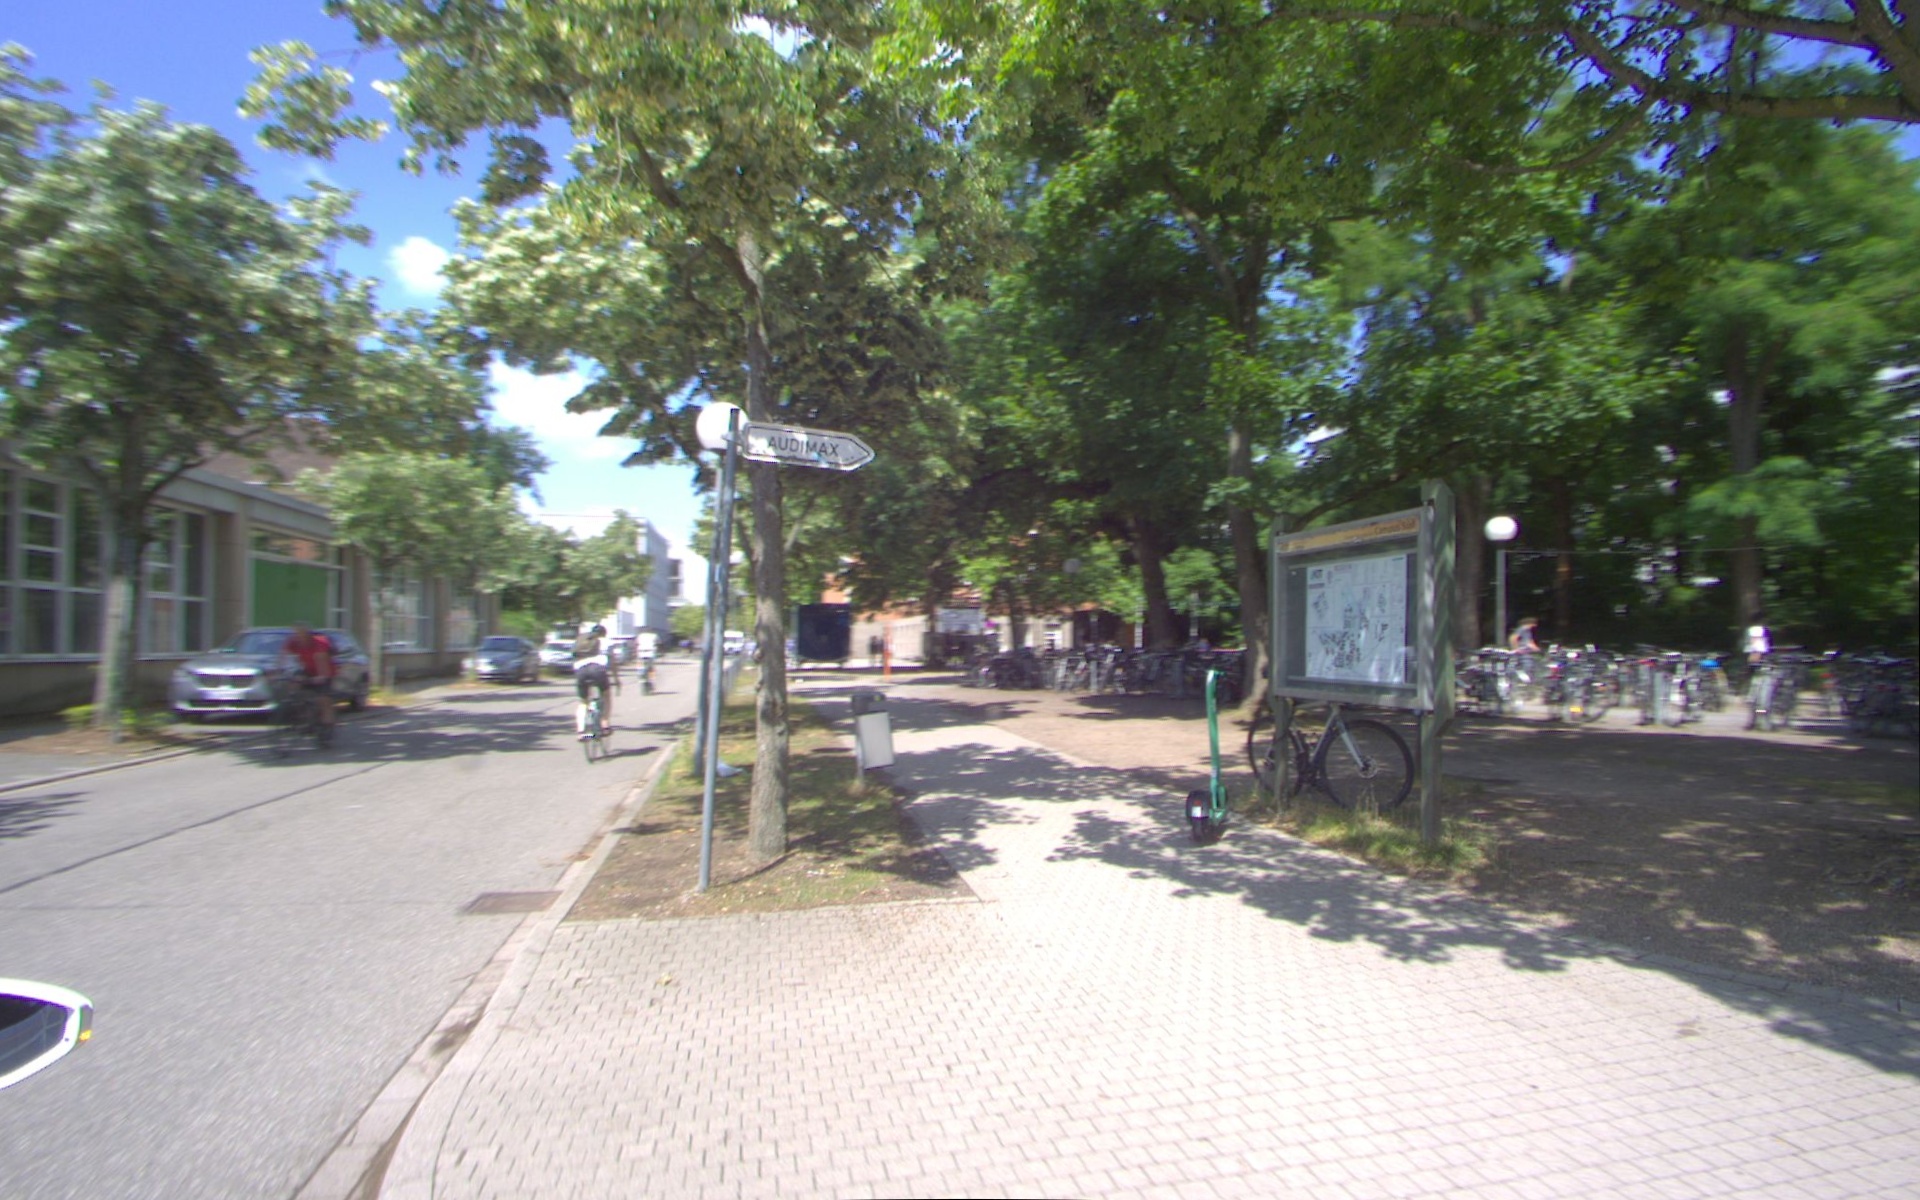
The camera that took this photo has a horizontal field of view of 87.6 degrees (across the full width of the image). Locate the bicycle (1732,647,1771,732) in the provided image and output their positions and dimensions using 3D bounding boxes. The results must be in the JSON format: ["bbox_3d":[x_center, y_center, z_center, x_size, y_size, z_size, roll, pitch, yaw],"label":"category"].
[{"bbox_3d":[11.788,1.297,14.900,0.349,1.185,1.830,-1,-2,41],"label":"bicycle"}]

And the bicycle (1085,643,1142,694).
[{"bbox_3d":[3.658,1.615,23.846,0.489,1.170,1.725,-1,-2,42],"label":"bicycle"}]

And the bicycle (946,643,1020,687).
[{"bbox_3d":[0.651,1.807,27.952,1.988,1.182,0.650,1,-2,-23],"label":"bicycle"}]

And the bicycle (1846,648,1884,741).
[{"bbox_3d":[12.416,1.256,13.754,0.349,1.185,1.830,-1,-2,41],"label":"bicycle"}]

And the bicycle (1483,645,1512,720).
[{"bbox_3d":[9.154,1.369,17.029,0.340,1.185,1.837,-1,-2,31],"label":"bicycle"}]

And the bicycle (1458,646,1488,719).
[{"bbox_3d":[8.846,1.386,17.234,0.340,1.185,1.837,-1,-2,31],"label":"bicycle"}]

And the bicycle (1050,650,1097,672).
[{"bbox_3d":[5.968,3.178,52.529,2.357,1.085,0.783,2,-3,1],"label":"bicycle"}]

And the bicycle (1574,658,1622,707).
[{"bbox_3d":[13.864,1.777,21.739,1.884,0.991,0.375,1,-3,-42],"label":"bicycle"}]

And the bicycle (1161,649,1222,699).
[{"bbox_3d":[5.065,1.598,21.816,1.776,1.041,0.378,2,-2,-43],"label":"bicycle"}]

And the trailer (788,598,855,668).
[{"bbox_3d":[-6.735,1.616,47.915,2.650,3.090,6.254,0,-2,-13],"label":"trailer"}]

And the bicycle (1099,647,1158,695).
[{"bbox_3d":[3.897,1.616,23.083,0.489,1.066,1.725,-1,-2,42],"label":"bicycle"}]

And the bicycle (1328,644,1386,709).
[{"bbox_3d":[7.663,1.451,19.290,0.398,1.185,1.777,-1,-2,44],"label":"bicycle"}]

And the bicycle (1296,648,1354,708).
[{"bbox_3d":[7.053,1.480,19.311,0.422,1.083,1.778,-1,-2,42],"label":"bicycle"}]

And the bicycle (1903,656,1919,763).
[{"bbox_3d":[10.720,1.122,10.146,1.652,1.123,0.472,-3,-4,42],"label":"bicycle"}]

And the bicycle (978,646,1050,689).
[{"bbox_3d":[1.436,1.759,26.392,1.918,1.096,0.403,1,-1,-24],"label":"bicycle"}]

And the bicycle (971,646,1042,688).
[{"bbox_3d":[1.260,1.785,26.783,1.918,1.096,0.403,1,-1,-24],"label":"bicycle"}]

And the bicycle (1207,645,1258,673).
[{"bbox_3d":[9.962,2.141,36.547,1.932,0.991,0.610,1,-2,-31],"label":"bicycle"}]

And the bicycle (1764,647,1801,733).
[{"bbox_3d":[12.055,1.281,14.669,0.349,1.185,1.830,-1,-2,41],"label":"bicycle"}]

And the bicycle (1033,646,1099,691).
[{"bbox_3d":[2.666,1.700,25.086,1.889,1.073,0.323,1,-2,-35],"label":"bicycle"}]

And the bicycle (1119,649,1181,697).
[{"bbox_3d":[4.350,1.651,22.868,1.779,1.041,0.436,2,-2,-44],"label":"bicycle"}]

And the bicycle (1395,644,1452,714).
[{"bbox_3d":[8.313,1.388,17.924,0.342,1.185,1.829,-1,-2,44],"label":"bicycle"}]

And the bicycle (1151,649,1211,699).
[{"bbox_3d":[4.895,1.613,22.145,1.776,1.041,0.378,2,-2,-44],"label":"bicycle"}]

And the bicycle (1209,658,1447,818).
[{"bbox_3d":[2.792,1.030,7.780,0.621,1.096,1.679,4,-6,-34],"label":"bicycle"}]

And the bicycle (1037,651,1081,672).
[{"bbox_3d":[5.382,3.356,54.516,2.357,1.085,0.783,0,-3,2],"label":"bicycle"}]

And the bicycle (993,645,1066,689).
[{"bbox_3d":[1.796,1.706,25.782,1.918,1.096,0.403,1,-1,-24],"label":"bicycle"}]

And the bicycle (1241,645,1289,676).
[{"bbox_3d":[10.843,2.138,35.548,1.932,1.052,0.433,1,-2,-31],"label":"bicycle"}]

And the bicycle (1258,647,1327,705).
[{"bbox_3d":[6.550,1.481,19.685,1.773,1.083,0.423,2,-2,-40],"label":"bicycle"}]

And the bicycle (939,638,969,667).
[{"bbox_3d":[-0.283,2.330,44.440,0.524,1.268,1.728,-1,-2,-31],"label":"bicycle"}]

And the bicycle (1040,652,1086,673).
[{"bbox_3d":[5.486,3.332,53.605,2.358,1.085,0.783,1,-3,-4],"label":"bicycle"}]

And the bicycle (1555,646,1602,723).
[{"bbox_3d":[10.097,1.343,16.319,0.341,1.185,1.830,-1,-2,41],"label":"bicycle"}]

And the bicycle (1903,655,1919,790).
[{"bbox_3d":[8.851,1.050,8.872,0.625,1.123,1.910,-3,-4,41],"label":"bicycle"}]

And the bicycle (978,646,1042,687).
[{"bbox_3d":[1.362,1.806,27.238,1.744,1.096,0.437,1,-1,-24],"label":"bicycle"}]

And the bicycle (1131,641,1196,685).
[{"bbox_3d":[5.289,1.634,26.103,0.472,1.096,1.894,0,-2,-32],"label":"bicycle"}]

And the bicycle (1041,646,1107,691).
[{"bbox_3d":[2.828,1.688,24.824,1.889,1.073,0.323,1,-2,-35],"label":"bicycle"}]

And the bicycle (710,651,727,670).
[{"bbox_3d":[-13.570,3.406,56.292,0.796,1.014,2.124,2,-3,-11],"label":"bicycle"}]

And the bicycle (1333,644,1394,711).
[{"bbox_3d":[7.475,1.405,18.518,0.398,1.185,1.777,-1,-2,44],"label":"bicycle"}]

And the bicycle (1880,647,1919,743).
[{"bbox_3d":[12.580,1.230,13.365,0.384,1.185,1.830,-1,-2,41],"label":"bicycle"}]

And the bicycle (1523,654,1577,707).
[{"bbox_3d":[11.924,1.604,20.203,1.884,0.991,0.375,1,-3,-42],"label":"bicycle"}]

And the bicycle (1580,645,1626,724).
[{"bbox_3d":[10.343,1.329,16.092,0.341,1.185,1.830,-1,-2,41],"label":"bicycle"}]

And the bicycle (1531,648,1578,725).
[{"bbox_3d":[9.845,1.399,16.550,0.341,1.185,1.831,-1,-2,41],"label":"bicycle"}]

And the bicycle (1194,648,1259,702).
[{"bbox_3d":[5.622,1.553,21.043,1.775,1.083,0.423,2,-2,-42],"label":"bicycle"}]

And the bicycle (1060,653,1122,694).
[{"bbox_3d":[3.161,1.748,24.064,1.720,0.921,0.490,2,-2,-41],"label":"bicycle"}]

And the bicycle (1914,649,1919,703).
[{"bbox_3d":[17.786,1.397,18.264,0.399,0.991,1.585,-2,-3,39],"label":"bicycle"}]

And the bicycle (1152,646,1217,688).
[{"bbox_3d":[5.975,1.775,26.755,0.472,1.096,1.894,0,-2,-32],"label":"bicycle"}]

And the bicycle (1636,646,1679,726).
[{"bbox_3d":[10.918,1.313,15.659,0.349,1.185,1.830,-1,-2,41],"label":"bicycle"}]

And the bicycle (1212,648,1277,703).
[{"bbox_3d":[5.904,1.534,20.710,1.775,1.083,0.423,2,-2,-42],"label":"bicycle"}]

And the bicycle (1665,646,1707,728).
[{"bbox_3d":[11.166,1.297,15.380,0.349,1.185,1.830,-1,-2,41],"label":"bicycle"}]
